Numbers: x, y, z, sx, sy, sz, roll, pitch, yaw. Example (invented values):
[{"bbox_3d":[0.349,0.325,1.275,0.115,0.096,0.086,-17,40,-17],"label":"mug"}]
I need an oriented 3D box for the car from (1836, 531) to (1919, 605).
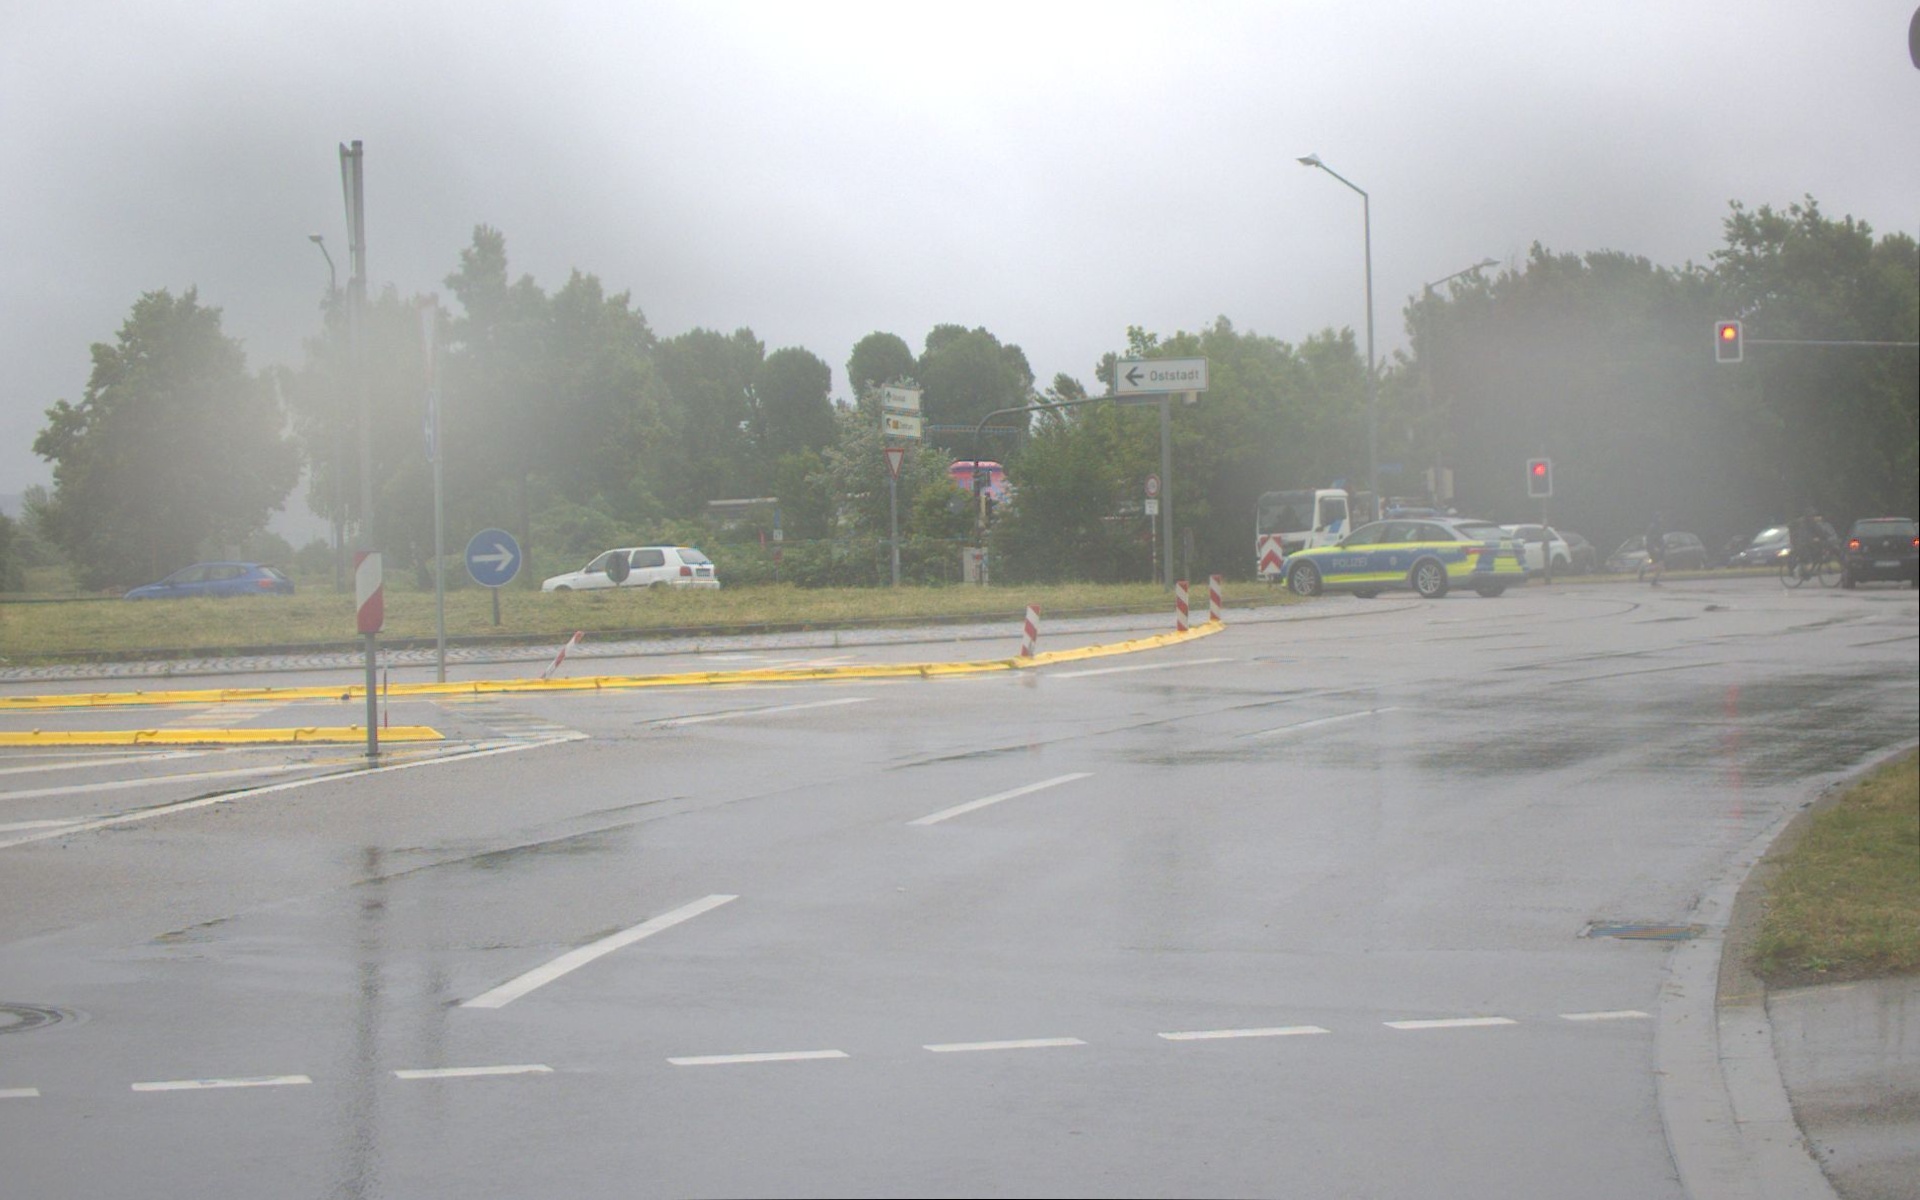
[{"bbox_3d":[19.056,-0.683,71.144,1.619,1.449,3.986,-1,1,12],"label":"car"}]

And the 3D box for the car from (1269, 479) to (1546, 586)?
[{"bbox_3d":[8.057,-1.213,62.231,1.995,1.845,4.773,-2,1,-43],"label":"car"}]

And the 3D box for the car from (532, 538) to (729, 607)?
[{"bbox_3d":[-7.266,-0.610,75.862,3.978,1.449,1.622,-1,1,19],"label":"car"}]

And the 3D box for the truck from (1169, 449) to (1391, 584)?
[{"bbox_3d":[7.013,-1.734,74.206,2.464,2.677,8.049,1,0,23],"label":"truck"}]

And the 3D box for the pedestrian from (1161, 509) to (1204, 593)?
[{"bbox_3d":[3.520,-0.775,54.352,0.453,1.300,0.485,0,1,38],"label":"pedestrian"}]

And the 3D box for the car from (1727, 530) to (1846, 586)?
[{"bbox_3d":[25.930,-1.313,107.798,1.800,1.656,4.399,1,0,41],"label":"car"}]

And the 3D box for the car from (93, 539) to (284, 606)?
[{"bbox_3d":[-17.694,-0.645,78.972,3.974,1.449,1.623,-1,1,2],"label":"car"}]

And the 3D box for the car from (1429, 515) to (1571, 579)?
[{"bbox_3d":[14.882,-1.450,94.585,1.800,1.656,4.399,1,0,41],"label":"car"}]

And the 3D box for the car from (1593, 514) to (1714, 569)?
[{"bbox_3d":[21.880,-1.842,108.363,1.800,1.656,4.399,0,1,41],"label":"car"}]
